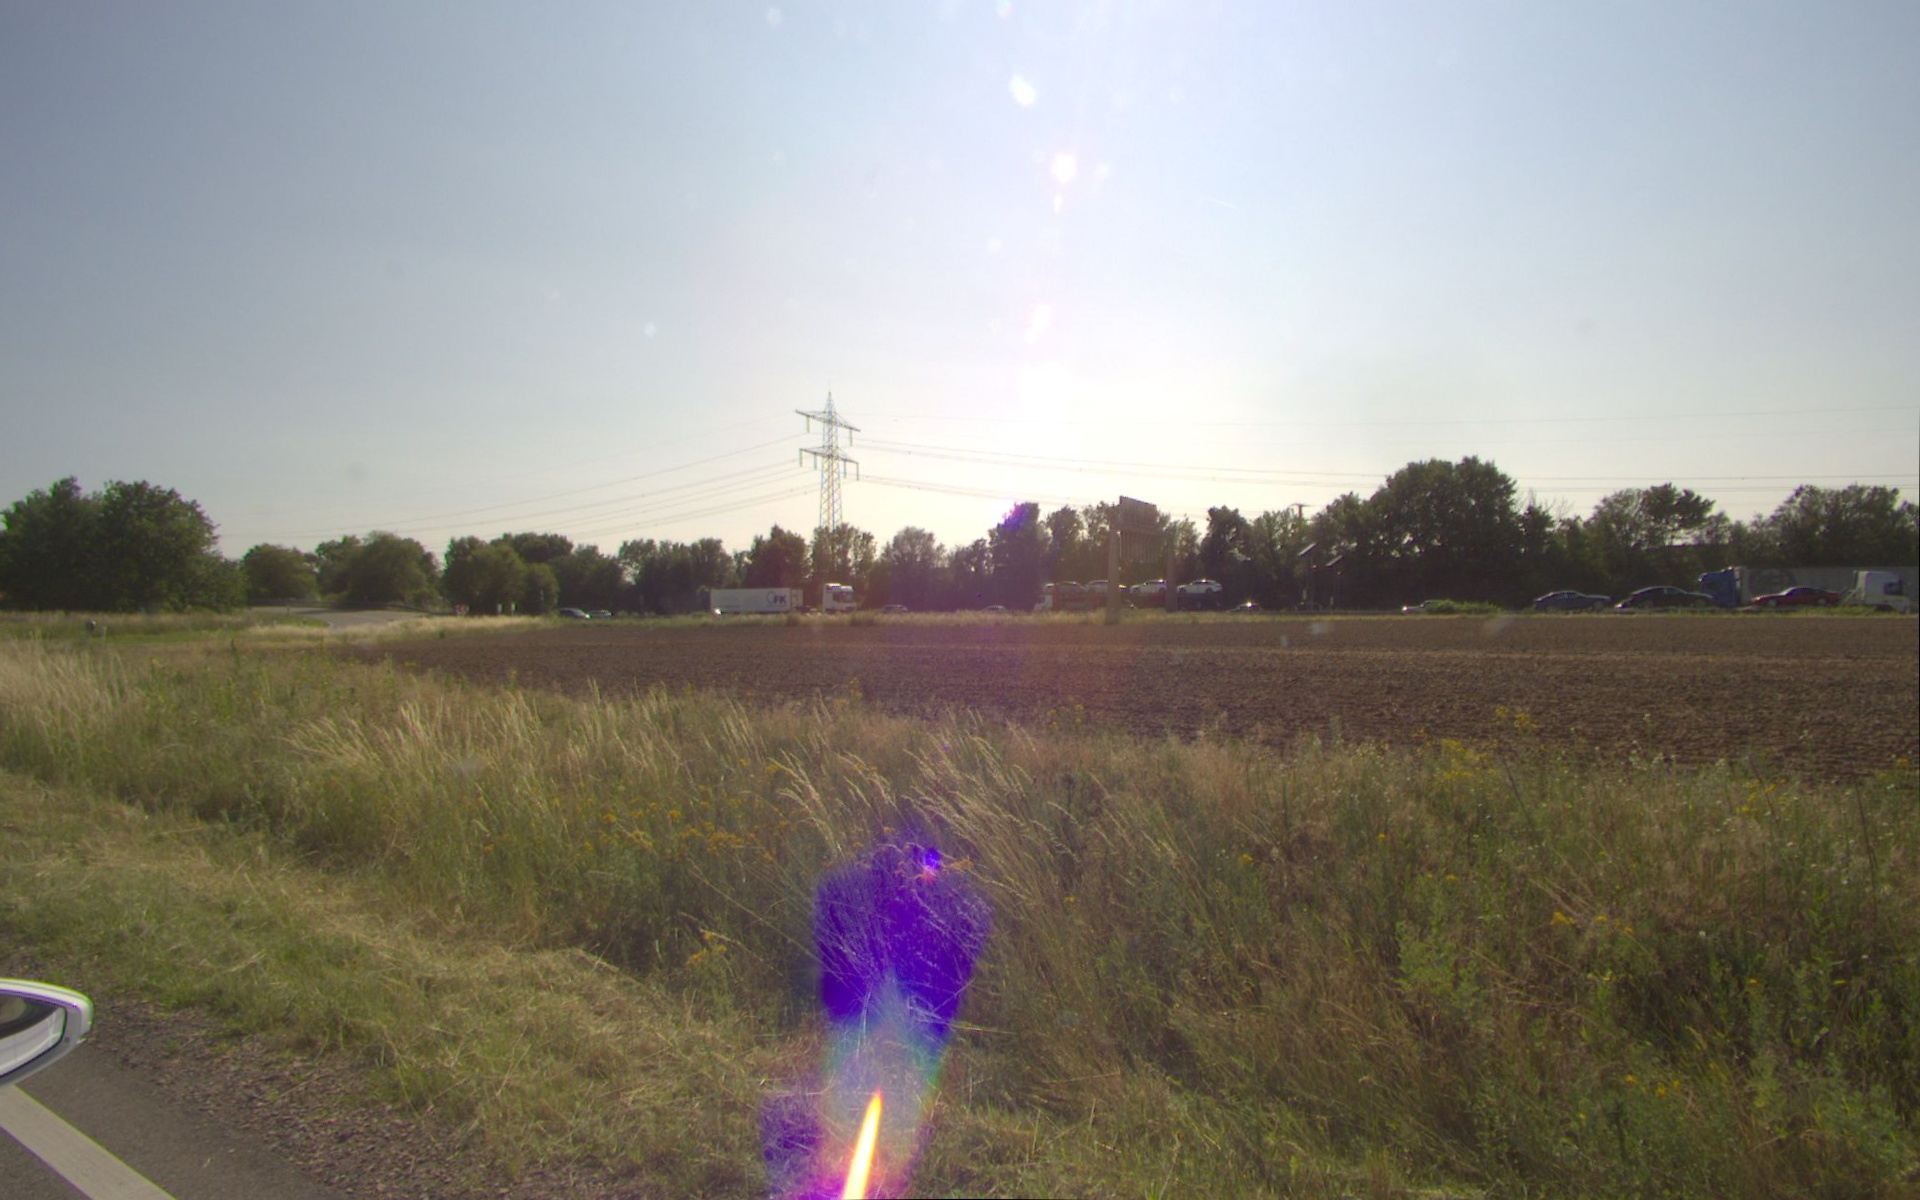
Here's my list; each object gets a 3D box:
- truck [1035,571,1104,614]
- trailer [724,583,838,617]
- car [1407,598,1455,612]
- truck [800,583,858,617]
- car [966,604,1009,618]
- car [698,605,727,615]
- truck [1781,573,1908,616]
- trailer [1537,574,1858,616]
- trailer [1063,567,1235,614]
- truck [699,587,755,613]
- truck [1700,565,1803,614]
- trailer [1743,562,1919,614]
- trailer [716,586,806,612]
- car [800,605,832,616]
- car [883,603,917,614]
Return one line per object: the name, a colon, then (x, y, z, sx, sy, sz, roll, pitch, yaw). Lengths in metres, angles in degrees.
truck: (11.857, -0.802, 107.996, 6.603, 4.512, 3.417, -1, 1, 28)
trailer: (-18.659, 0.016, 103.745, 12.833, 3.312, 2.510, 0, 1, 28)
car: (39.932, 0.448, 84.873, 3.528, 1.166, 1.393, 0, -1, 31)
truck: (-13.167, -0.017, 100.816, 5.274, 3.312, 2.510, 0, 1, 28)
car: (2.878, 1.174, 105.555, 4.184, 1.403, 1.848, 0, -1, 30)
car: (-30.911, 1.253, 125.024, 3.526, 1.166, 1.394, 0, -1, 28)
truck: (54.763, -0.327, 62.173, 5.450, 2.565, 2.509, 0, 1, 29)
trailer: (47.804, -0.291, 66.080, 16.823, 2.565, 2.509, 0, 1, 29)
trailer: (19.416, -0.904, 103.920, 17.293, 4.512, 3.417, -1, 1, 28)
truck: (-30.939, -0.037, 132.901, 6.873, 3.311, 3.280, -1, 1, 29)
truck: (62.845, -0.782, 79.702, 5.998, 3.782, 3.067, 0, 0, 31)
trailer: (68.398, -0.849, 76.320, 13.430, 3.782, 3.066, 0, 0, 31)
trailer: (-25.901, -0.104, 130.079, 12.267, 3.311, 3.280, -1, 1, 29)
car: (-16.747, 1.234, 116.087, 3.526, 1.166, 1.394, 0, -1, 28)
car: (-6.598, 0.984, 110.403, 3.526, 1.166, 1.394, 0, -1, 28)
